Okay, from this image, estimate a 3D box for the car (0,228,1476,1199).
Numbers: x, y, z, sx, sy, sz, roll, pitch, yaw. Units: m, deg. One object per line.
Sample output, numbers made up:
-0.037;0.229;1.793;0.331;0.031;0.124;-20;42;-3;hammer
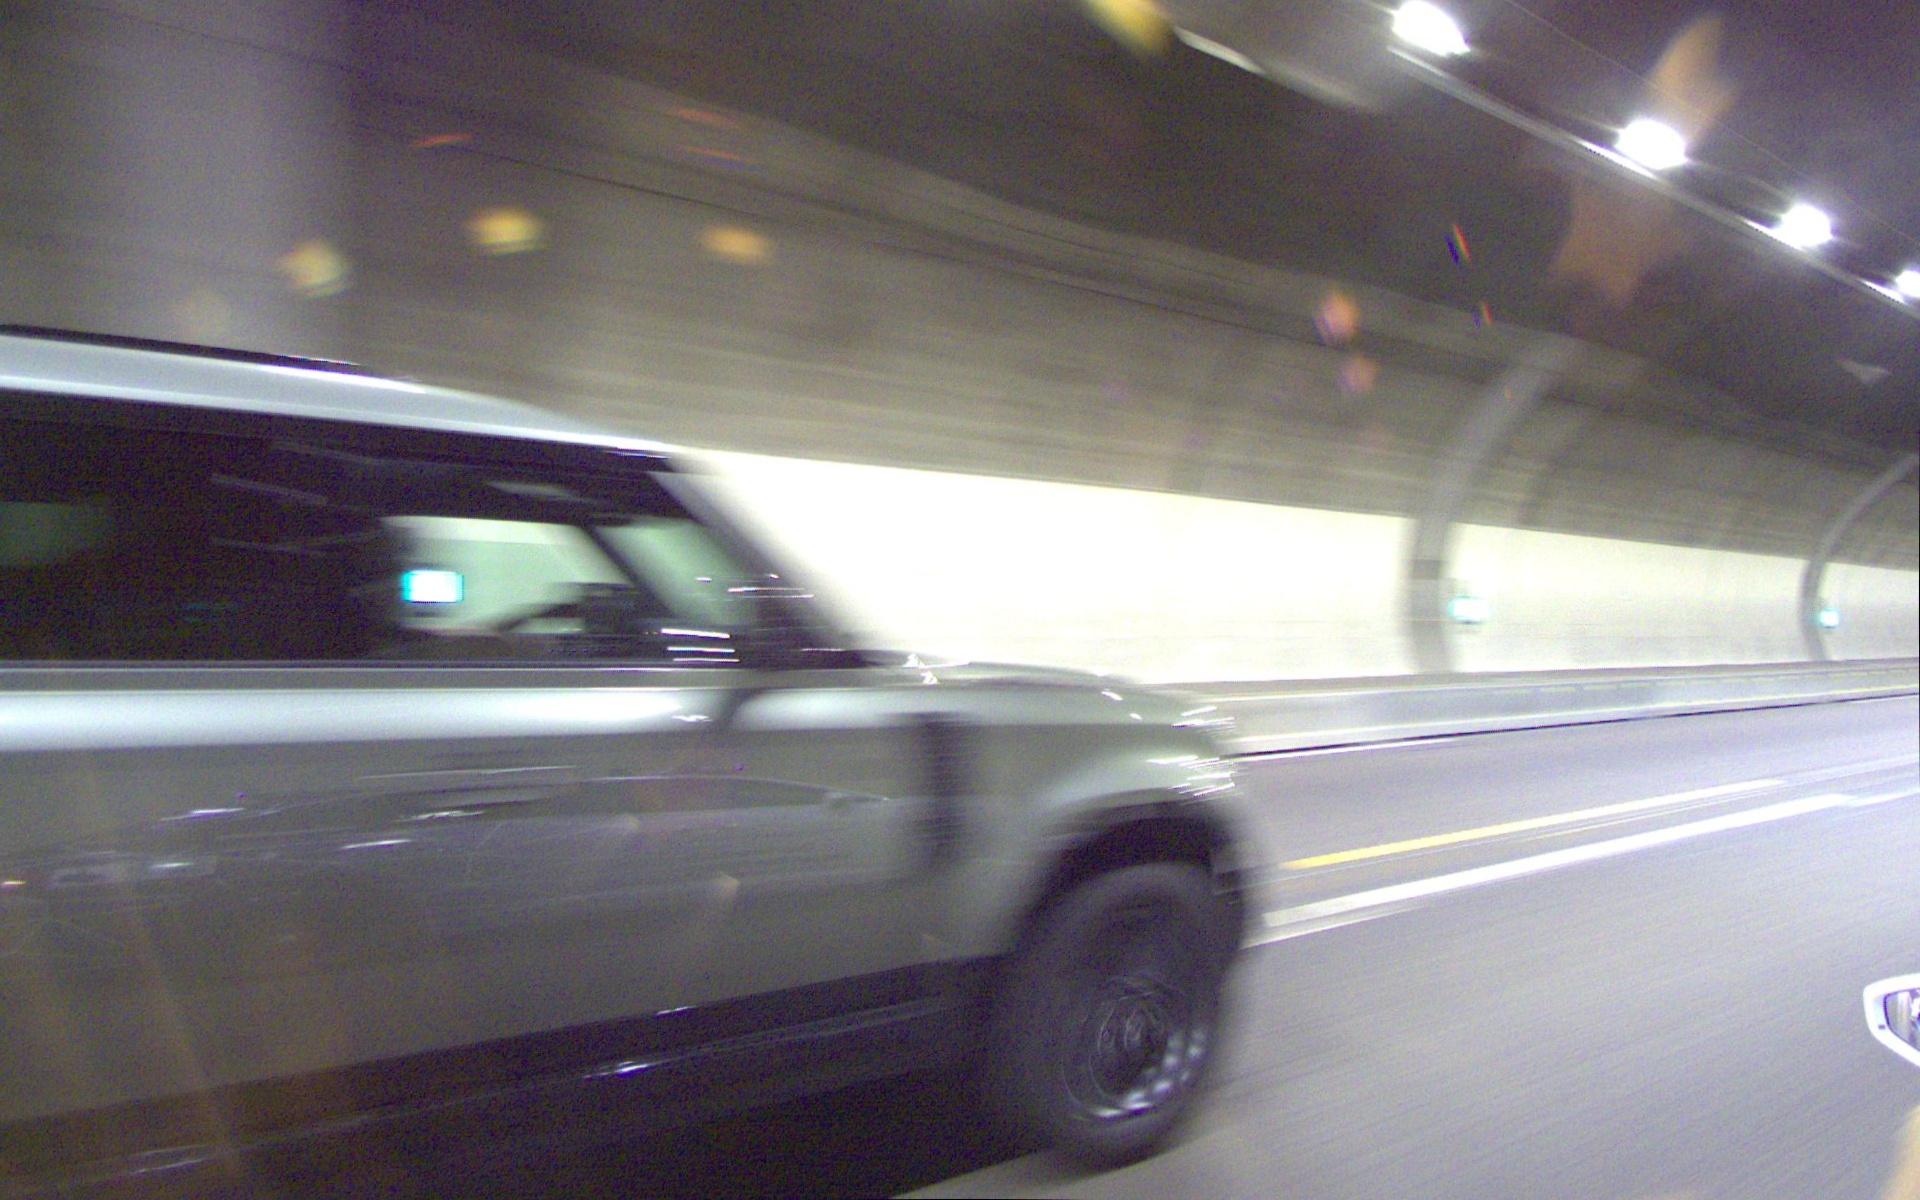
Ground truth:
-1.193;0.421;2.701;5.390;1.920;1.983;2;1;-31;car
